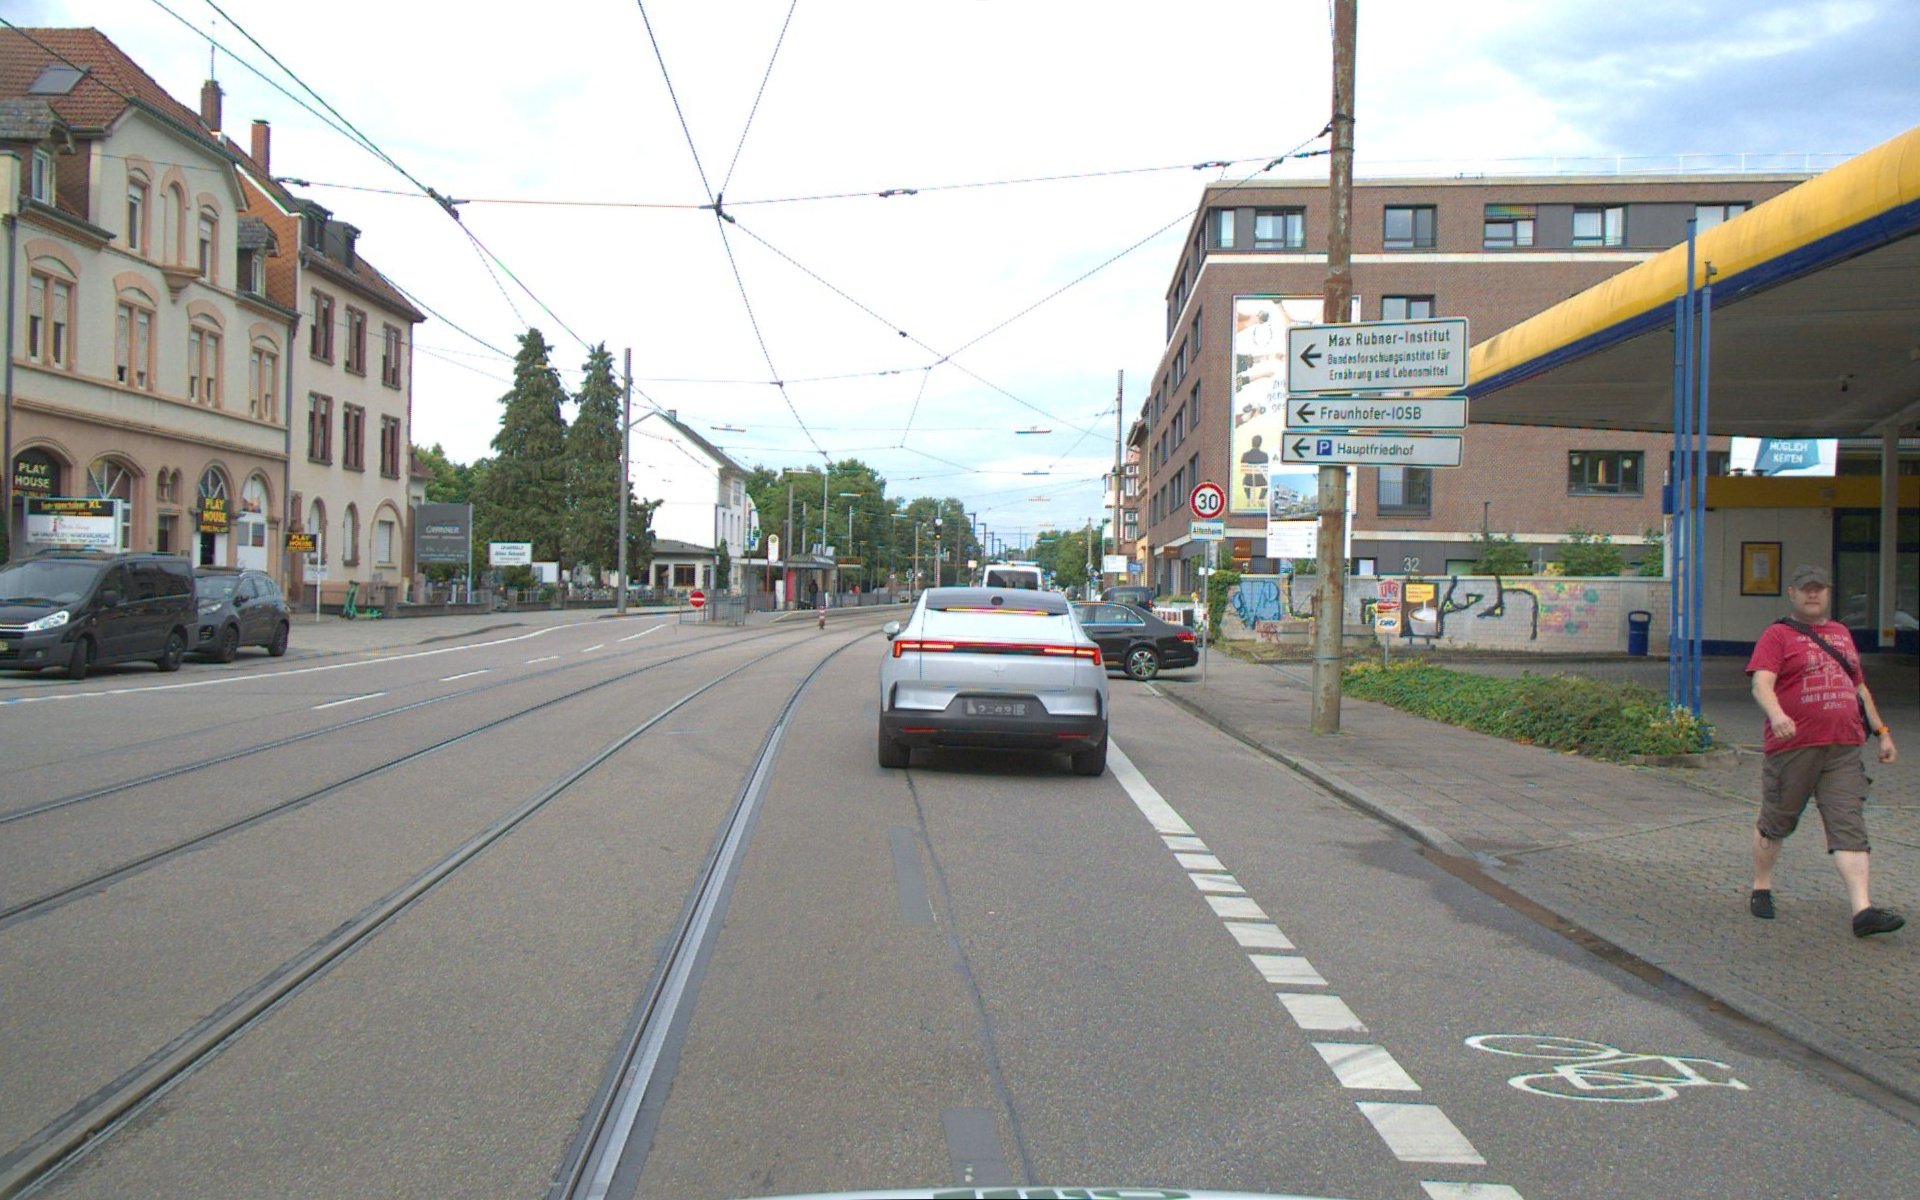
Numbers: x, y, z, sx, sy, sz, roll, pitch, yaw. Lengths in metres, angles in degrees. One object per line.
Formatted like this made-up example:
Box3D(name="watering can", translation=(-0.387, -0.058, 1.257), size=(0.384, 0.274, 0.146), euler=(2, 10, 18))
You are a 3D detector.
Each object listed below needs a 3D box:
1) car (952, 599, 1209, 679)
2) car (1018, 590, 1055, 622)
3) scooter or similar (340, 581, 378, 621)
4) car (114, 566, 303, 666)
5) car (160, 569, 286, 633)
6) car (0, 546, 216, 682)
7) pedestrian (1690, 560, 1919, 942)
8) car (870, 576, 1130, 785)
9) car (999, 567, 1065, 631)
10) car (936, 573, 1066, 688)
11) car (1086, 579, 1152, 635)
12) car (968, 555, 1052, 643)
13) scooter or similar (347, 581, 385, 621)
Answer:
Box3D(name="car", translation=(2.296, 0.747, 32.393), size=(4.774, 1.452, 1.951), euler=(1, 0, -5))
Box3D(name="car", translation=(5.134, 0.408, 111.599), size=(1.954, 2.049, 3.996), euler=(2, 0, -4))
Box3D(name="scooter or similar", translation=(-19.149, 0.031, 52.679), size=(1.040, 1.209, 0.314), euler=(3, -1, -37))
Box3D(name="car", translation=(-14.481, 0.298, 32.141), size=(1.807, 1.748, 4.191), euler=(2, 0, -2))
Box3D(name="car", translation=(-19.405, 0.038, 43.709), size=(1.718, 1.527, 3.745), euler=(2, 0, -2))
Box3D(name="car", translation=(-13.945, 0.195, 26.340), size=(1.952, 1.920, 4.996), euler=(2, 0, -1))
Box3D(name="pedestrian", translation=(4.287, 0.703, 8.156), size=(0.952, 1.769, 0.861), euler=(-1, -1, -1))
Box3D(name="car", translation=(0.210, 0.628, 15.188), size=(1.943, 1.577, 4.180), euler=(2, 0, -4))
Box3D(name="car", translation=(2.623, -0.023, 61.227), size=(2.096, 2.183, 4.742), euler=(2, 0, -1))
Box3D(name="car", translation=(0.645, 0.510, 28.756), size=(1.929, 1.787, 3.836), euler=(2, 0, -3))
Box3D(name="car", translation=(5.673, 0.250, 59.476), size=(1.836, 1.855, 4.095), euler=(2, 0, -1))
Box3D(name="car", translation=(1.481, -0.014, 50.911), size=(2.172, 2.465, 4.949), euler=(2, 0, -2))
Box3D(name="scooter or similar", translation=(-18.755, 0.044, 52.236), size=(1.040, 1.209, 0.314), euler=(3, -1, -37))
